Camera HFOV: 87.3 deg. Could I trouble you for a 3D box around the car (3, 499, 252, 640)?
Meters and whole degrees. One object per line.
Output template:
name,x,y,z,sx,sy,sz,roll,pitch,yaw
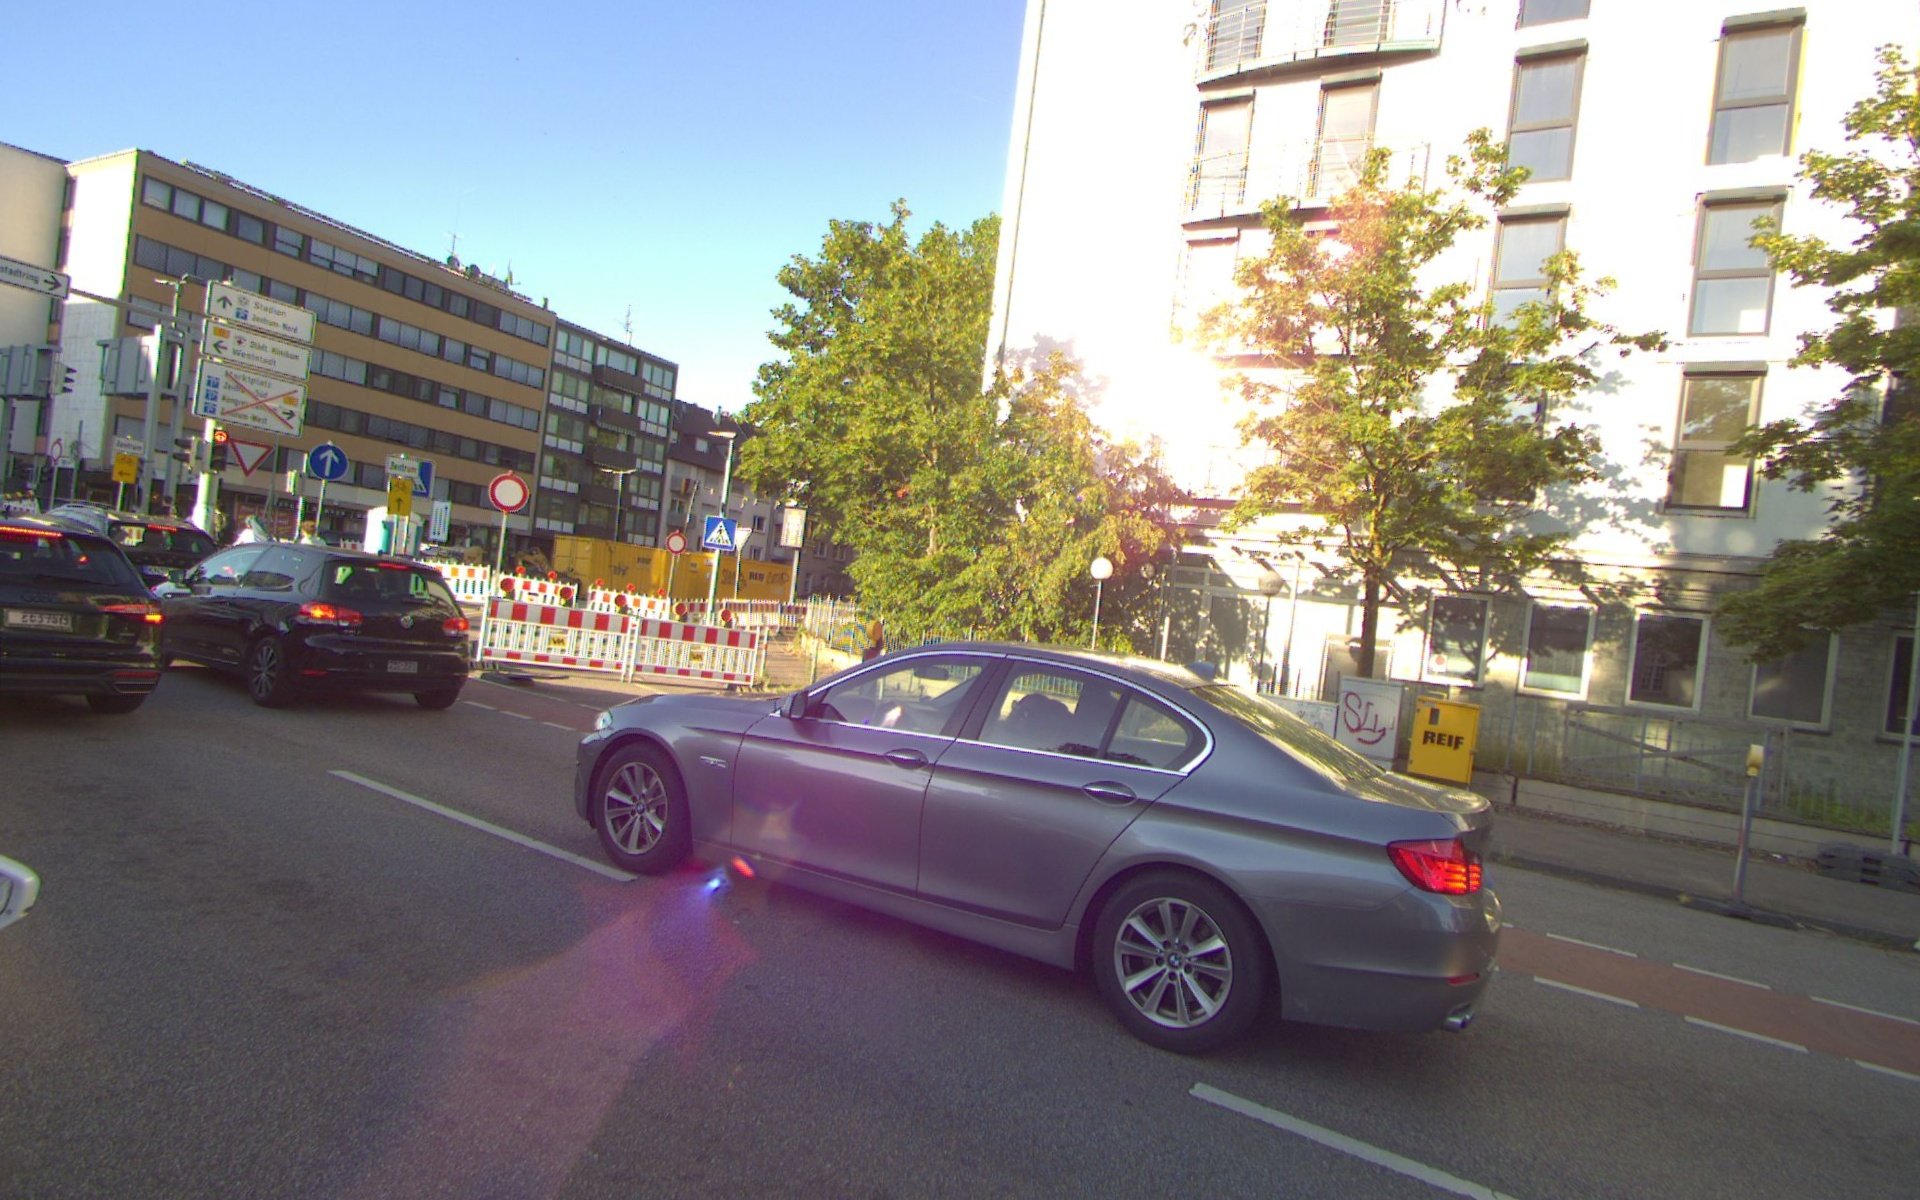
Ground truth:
car,-11.119,-0.421,13.400,3.250,1.467,1.507,7,0,32

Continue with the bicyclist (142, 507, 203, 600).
bicyclist,-13.955,-0.826,17.828,0.713,1.544,0.514,7,0,32

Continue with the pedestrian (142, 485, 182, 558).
pedestrian,-21.374,-2.096,26.955,0.479,1.857,0.570,7,0,34

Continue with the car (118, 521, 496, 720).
car,-6.602,0.179,10.098,3.683,1.466,1.637,7,-2,32

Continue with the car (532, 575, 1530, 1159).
car,0.180,0.909,5.140,4.587,1.466,1.819,7,-1,29

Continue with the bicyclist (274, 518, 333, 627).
bicyclist,-9.808,-0.407,15.041,0.474,1.544,0.441,7,0,31

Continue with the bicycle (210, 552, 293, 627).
bicycle,-11.481,-0.177,16.285,1.825,1.020,0.337,7,0,32

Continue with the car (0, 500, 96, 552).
car,-32.261,-2.643,34.185,1.650,1.435,4.000,7,-1,21

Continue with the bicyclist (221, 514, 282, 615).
bicyclist,-11.499,-0.571,16.330,0.713,1.544,0.441,7,0,32

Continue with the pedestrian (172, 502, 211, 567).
pedestrian,-21.197,-1.807,27.746,0.447,1.691,0.602,7,0,33

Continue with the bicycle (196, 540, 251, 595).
bicycle,-18.041,-0.798,24.632,1.474,1.175,0.373,8,-1,28

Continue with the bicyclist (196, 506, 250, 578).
bicyclist,-18.064,-1.419,24.659,0.800,1.608,0.619,8,0,28

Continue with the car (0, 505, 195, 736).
car,-7.687,-0.052,7.485,4.144,1.437,1.685,7,-2,32
